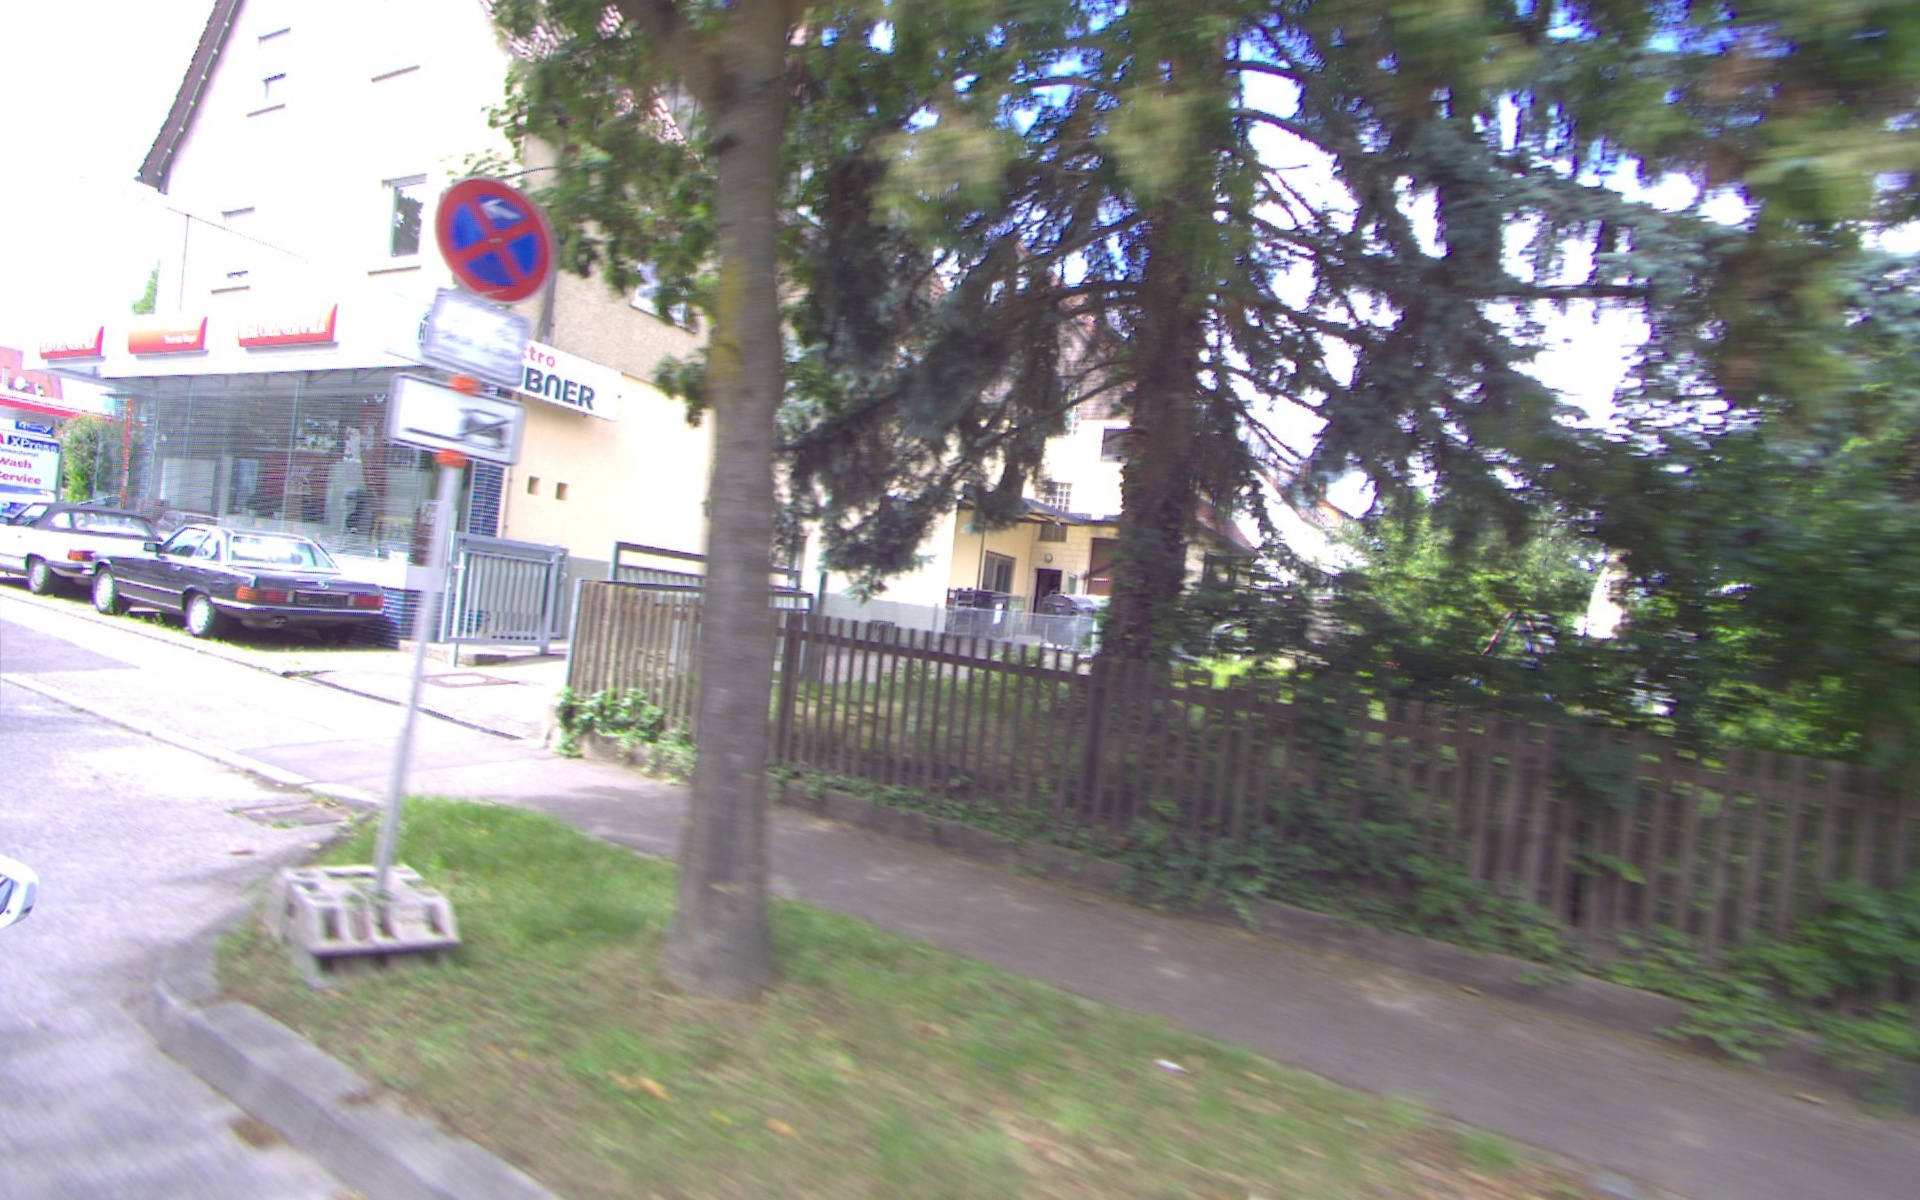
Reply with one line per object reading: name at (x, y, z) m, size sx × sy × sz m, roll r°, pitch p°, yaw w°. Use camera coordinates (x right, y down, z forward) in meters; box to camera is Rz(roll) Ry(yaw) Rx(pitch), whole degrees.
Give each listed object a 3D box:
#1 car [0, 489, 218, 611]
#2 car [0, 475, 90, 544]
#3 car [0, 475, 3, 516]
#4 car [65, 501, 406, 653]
car at (-13.445, -0.829, 15.200) m, size 4.406 × 1.380 × 1.727 m, roll 7°, pitch -1°, yaw 27°
car at (-23.818, -2.369, 24.982) m, size 3.997 × 1.371 × 1.847 m, roll 7°, pitch -1°, yaw 26°
car at (-41.484, -4.515, 41.412) m, size 3.626 × 1.656 × 1.787 m, roll 7°, pitch 2°, yaw 26°
car at (-9.184, -0.309, 12.703) m, size 4.193 × 1.331 × 1.729 m, roll 7°, pitch -2°, yaw 28°
